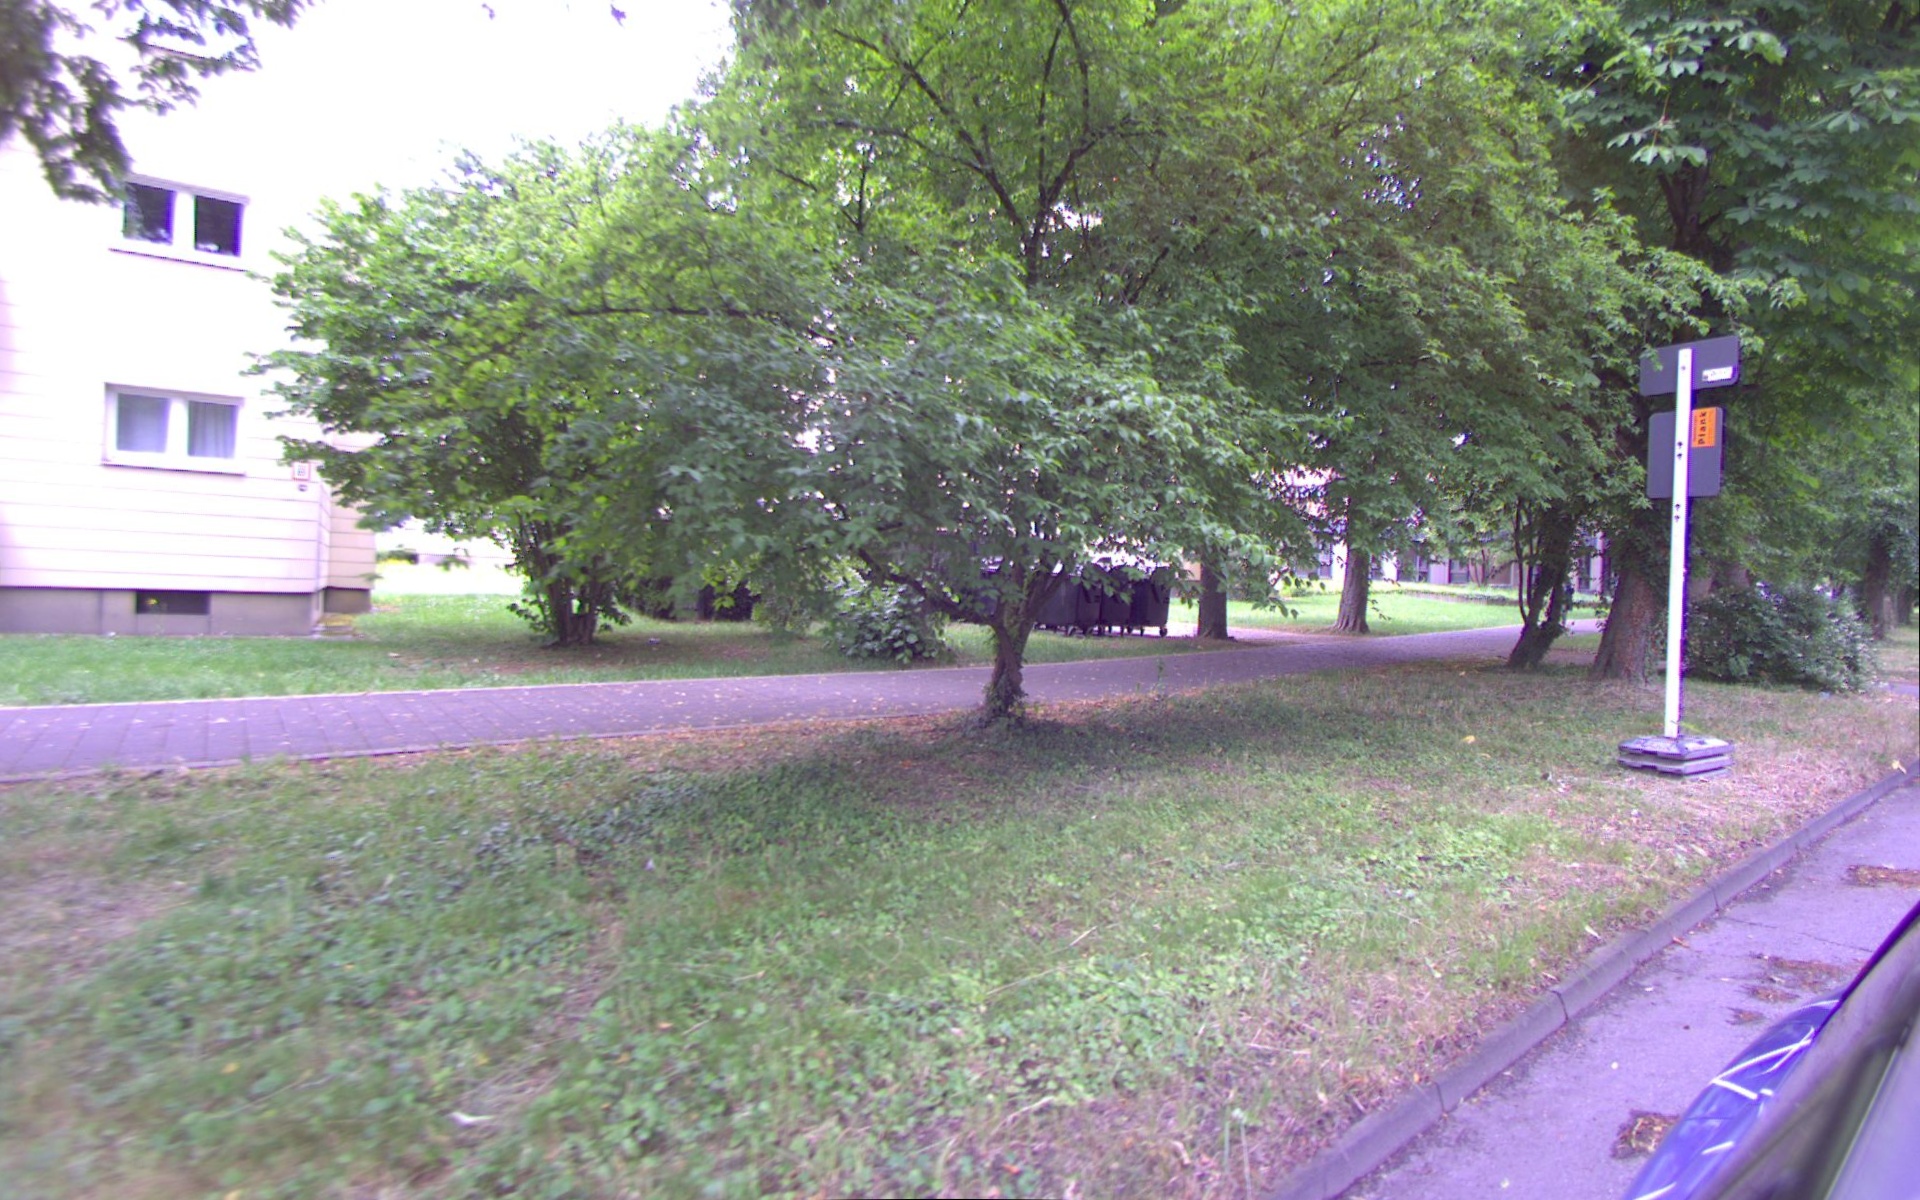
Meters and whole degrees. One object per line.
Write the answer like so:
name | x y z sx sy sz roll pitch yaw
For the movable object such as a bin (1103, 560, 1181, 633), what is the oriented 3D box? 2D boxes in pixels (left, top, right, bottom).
movable object such as a bin | 3.800 -0.088 21.153 1.189 1.431 1.095 3 2 40

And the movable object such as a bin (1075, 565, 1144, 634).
movable object such as a bin | 3.018 -0.017 20.413 1.021 1.320 0.946 3 2 40

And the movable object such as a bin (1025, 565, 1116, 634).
movable object such as a bin | 2.152 -0.027 19.615 1.189 1.235 1.329 3 2 40

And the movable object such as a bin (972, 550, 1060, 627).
movable object such as a bin | 1.139 -0.249 20.458 1.189 1.474 1.329 3 2 40

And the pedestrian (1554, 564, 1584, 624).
pedestrian | 18.412 -0.195 30.607 0.560 1.761 0.565 0 3 -43

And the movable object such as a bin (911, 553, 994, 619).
movable object such as a bin | -0.160 -0.319 21.896 1.189 1.358 1.329 3 2 40
